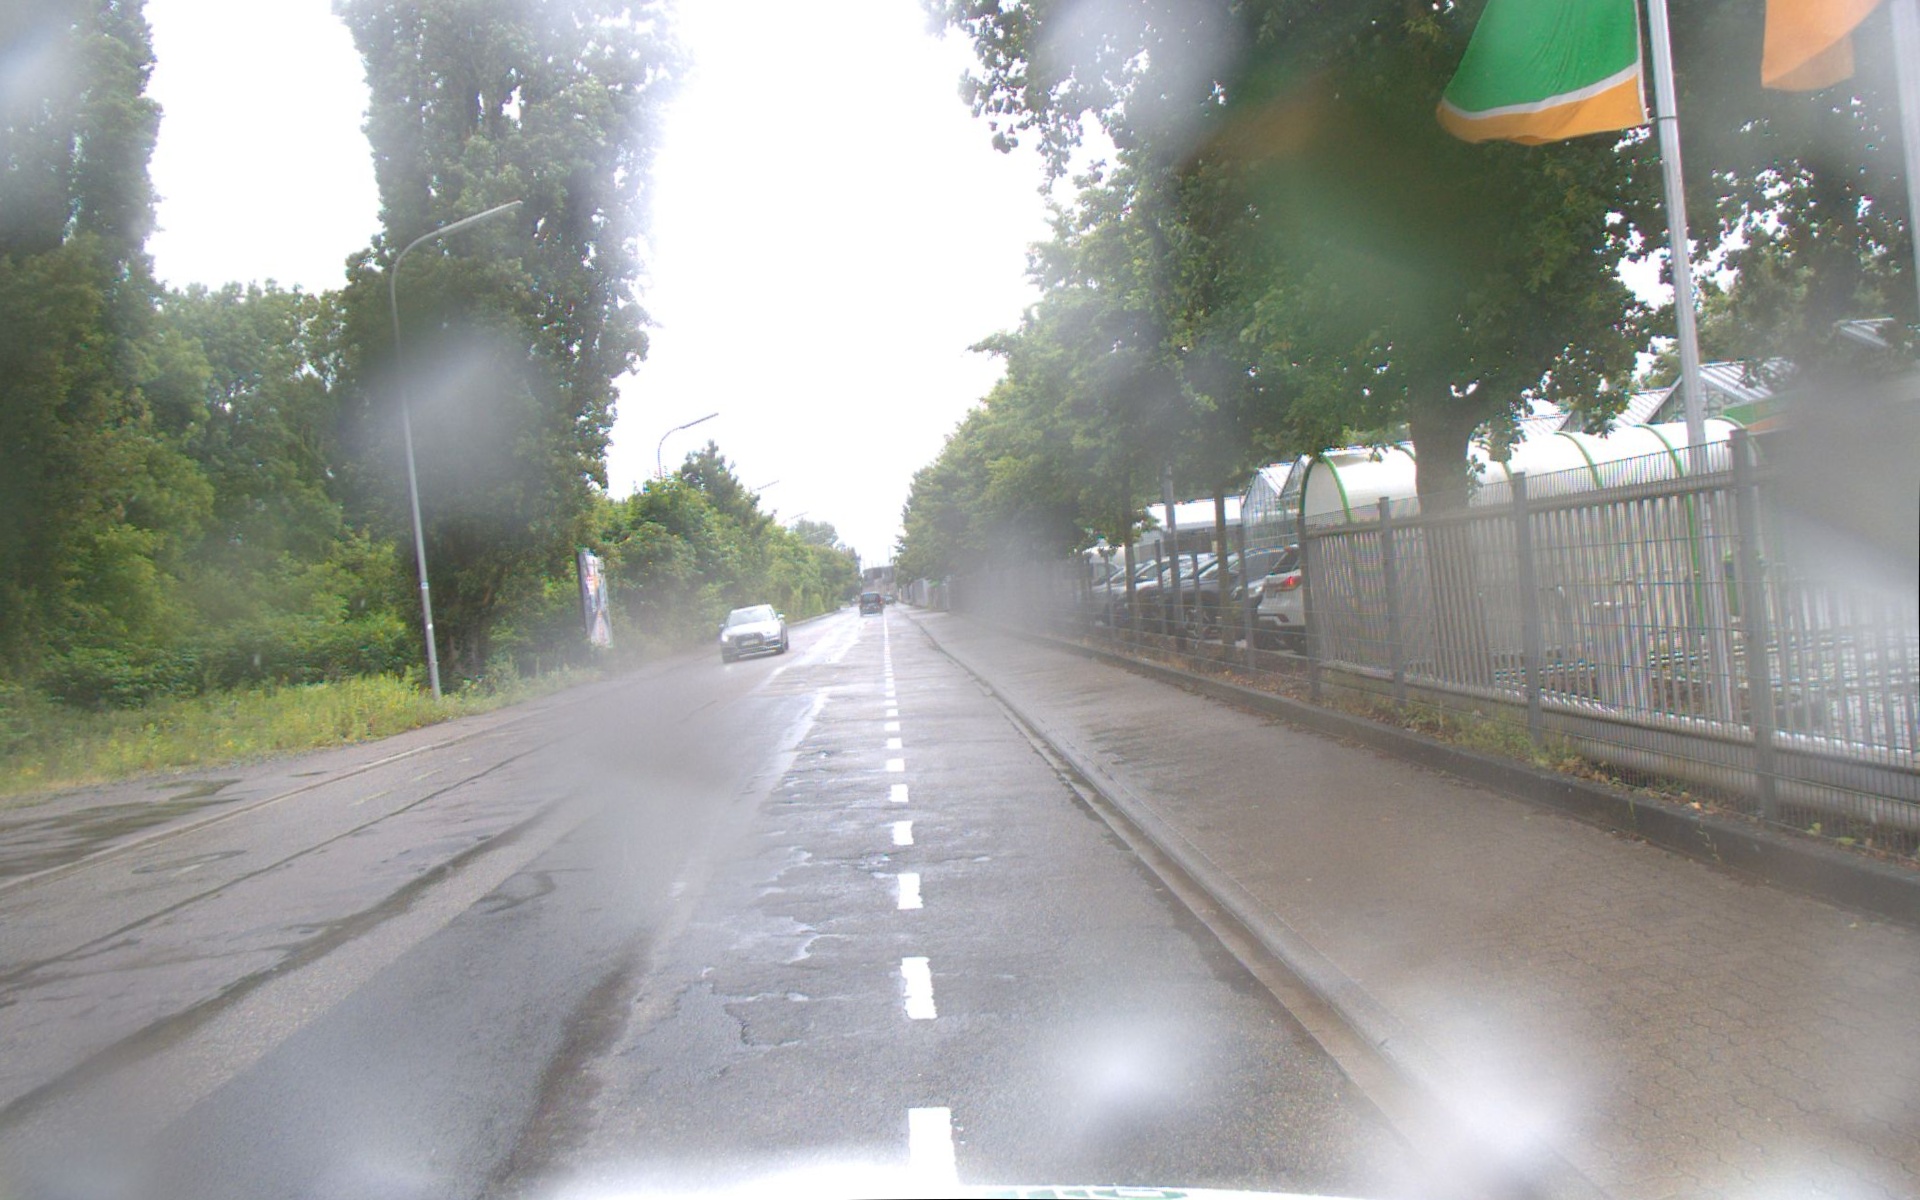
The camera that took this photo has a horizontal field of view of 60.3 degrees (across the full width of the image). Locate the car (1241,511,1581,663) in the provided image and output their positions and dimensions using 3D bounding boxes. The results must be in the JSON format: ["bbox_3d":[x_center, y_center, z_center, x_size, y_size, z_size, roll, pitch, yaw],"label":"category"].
[{"bbox_3d":[6.257,-0.188,23.229,4.127,1.628,1.822,-6,0,-4],"label":"car"}]

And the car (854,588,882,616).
[{"bbox_3d":[-7.119,0.174,127.609,1.955,1.943,4.198,-6,0,-3],"label":"car"}]

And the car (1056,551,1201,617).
[{"bbox_3d":[5.215,-0.503,51.487,4.129,1.615,1.822,-6,1,-6],"label":"car"}]

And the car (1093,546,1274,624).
[{"bbox_3d":[5.687,-0.381,42.253,4.134,1.560,1.819,-6,1,-10],"label":"car"}]

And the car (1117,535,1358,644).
[{"bbox_3d":[5.319,-0.200,31.938,4.134,1.646,1.819,-6,1,-10],"label":"car"}]

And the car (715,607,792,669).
[{"bbox_3d":[-6.086,1.082,49.104,1.700,1.474,4.379,-8,0,-2],"label":"car"}]

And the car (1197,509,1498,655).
[{"bbox_3d":[6.075,-0.292,26.118,4.134,1.825,1.819,-6,1,-10],"label":"car"}]
